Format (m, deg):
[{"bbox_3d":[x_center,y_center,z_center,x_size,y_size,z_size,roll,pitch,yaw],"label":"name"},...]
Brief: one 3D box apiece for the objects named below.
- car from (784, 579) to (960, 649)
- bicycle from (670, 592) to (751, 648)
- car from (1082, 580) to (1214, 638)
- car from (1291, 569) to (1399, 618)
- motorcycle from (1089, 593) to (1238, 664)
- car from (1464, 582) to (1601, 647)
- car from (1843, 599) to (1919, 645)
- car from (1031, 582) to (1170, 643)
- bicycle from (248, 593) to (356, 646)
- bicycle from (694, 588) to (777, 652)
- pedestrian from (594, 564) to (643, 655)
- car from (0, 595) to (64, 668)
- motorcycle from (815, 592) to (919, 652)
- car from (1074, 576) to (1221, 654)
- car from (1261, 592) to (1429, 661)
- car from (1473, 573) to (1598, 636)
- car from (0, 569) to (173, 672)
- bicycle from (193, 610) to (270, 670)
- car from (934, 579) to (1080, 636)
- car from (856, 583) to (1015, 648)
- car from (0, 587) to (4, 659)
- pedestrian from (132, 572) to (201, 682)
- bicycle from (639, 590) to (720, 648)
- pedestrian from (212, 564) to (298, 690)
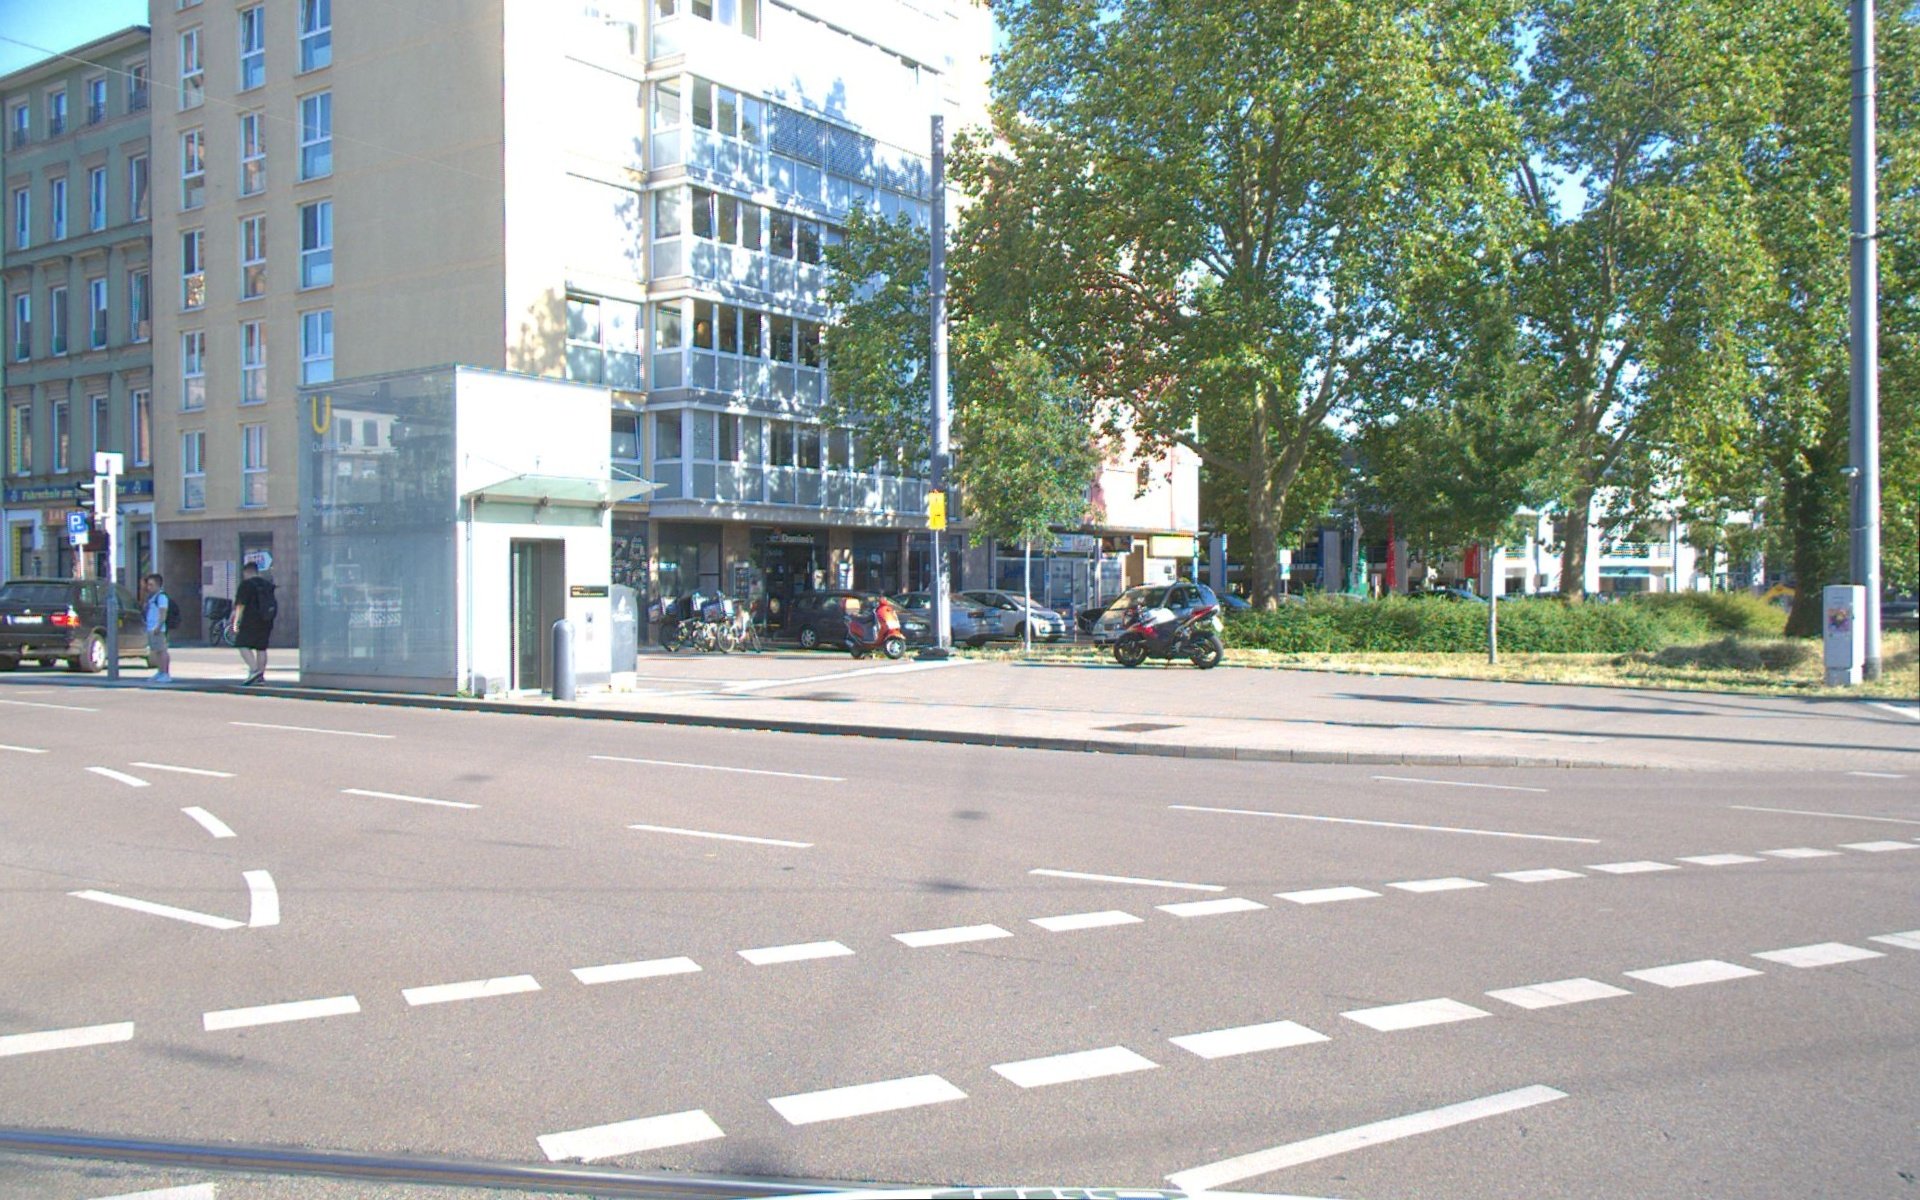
[{"bbox_3d":[-2.231,0.313,41.561,4.139,1.508,1.852,3,3,33],"label":"car"},{"bbox_3d":[-5.793,0.455,38.510,0.797,1.221,1.995,-1,1,30],"label":"bicycle"},{"bbox_3d":[6.157,0.272,54.396,3.921,1.663,1.849,3,3,36],"label":"car"},{"bbox_3d":[15.907,-0.278,68.342,3.921,1.810,1.849,3,3,36],"label":"car"},{"bbox_3d":[3.334,0.452,27.021,2.227,1.092,1.041,0,2,20],"label":"motorcycle"},{"bbox_3d":[19.034,0.436,55.029,3.918,1.900,1.851,3,3,34],"label":"car"},{"bbox_3d":[31.964,0.760,55.128,1.732,1.360,4.121,0,3,-33],"label":"car"},{"bbox_3d":[4.370,0.362,51.672,3.921,1.663,1.849,3,3,36],"label":"car"},{"bbox_3d":[-16.323,0.468,41.004,2.999,1.286,0.985,0,0,35],"label":"bicycle"},{"bbox_3d":[-5.100,0.437,37.691,0.797,1.369,1.995,-1,1,30],"label":"bicycle"},{"bbox_3d":[-6.730,0.180,32.589,0.744,1.758,0.690,0,0,-33],"label":"pedestrian"},{"bbox_3d":[-19.740,0.632,33.267,1.749,1.424,3.885,1,-2,-8],"label":"car"},{"bbox_3d":[-1.754,0.409,31.134,1.766,1.064,0.878,-2,1,33],"label":"motorcycle"},{"bbox_3d":[4.707,0.352,41.071,1.883,1.727,3.986,-3,0,35],"label":"car"},{"bbox_3d":[9.507,0.679,40.831,3.902,1.537,1.801,-2,-4,15],"label":"car"},{"bbox_3d":[20.918,0.131,60.189,3.918,2.033,1.851,3,3,34],"label":"car"},{"bbox_3d":[-17.038,0.393,31.988,1.916,1.846,4.246,1,-1,-6],"label":"car"},{"bbox_3d":[-18.876,1.023,42.825,2.187,1.380,0.928,3,3,39],"label":"bicycle"},{"bbox_3d":[1.362,0.181,48.676,3.921,1.444,1.849,3,3,36],"label":"car"},{"bbox_3d":[-0.671,0.368,43.820,3.921,1.444,1.849,3,3,36],"label":"car"},{"bbox_3d":[-22.446,0.488,35.398,1.917,1.626,4.244,1,-1,-8],"label":"car"},{"bbox_3d":[-12.876,0.424,26.855,0.735,1.758,0.698,0,0,19],"label":"pedestrian"},{"bbox_3d":[-6.585,0.430,38.914,0.797,1.270,1.995,-1,1,30],"label":"bicycle"},{"bbox_3d":[-10.036,0.377,23.554,0.849,1.758,0.795,0,0,4],"label":"pedestrian"}]
